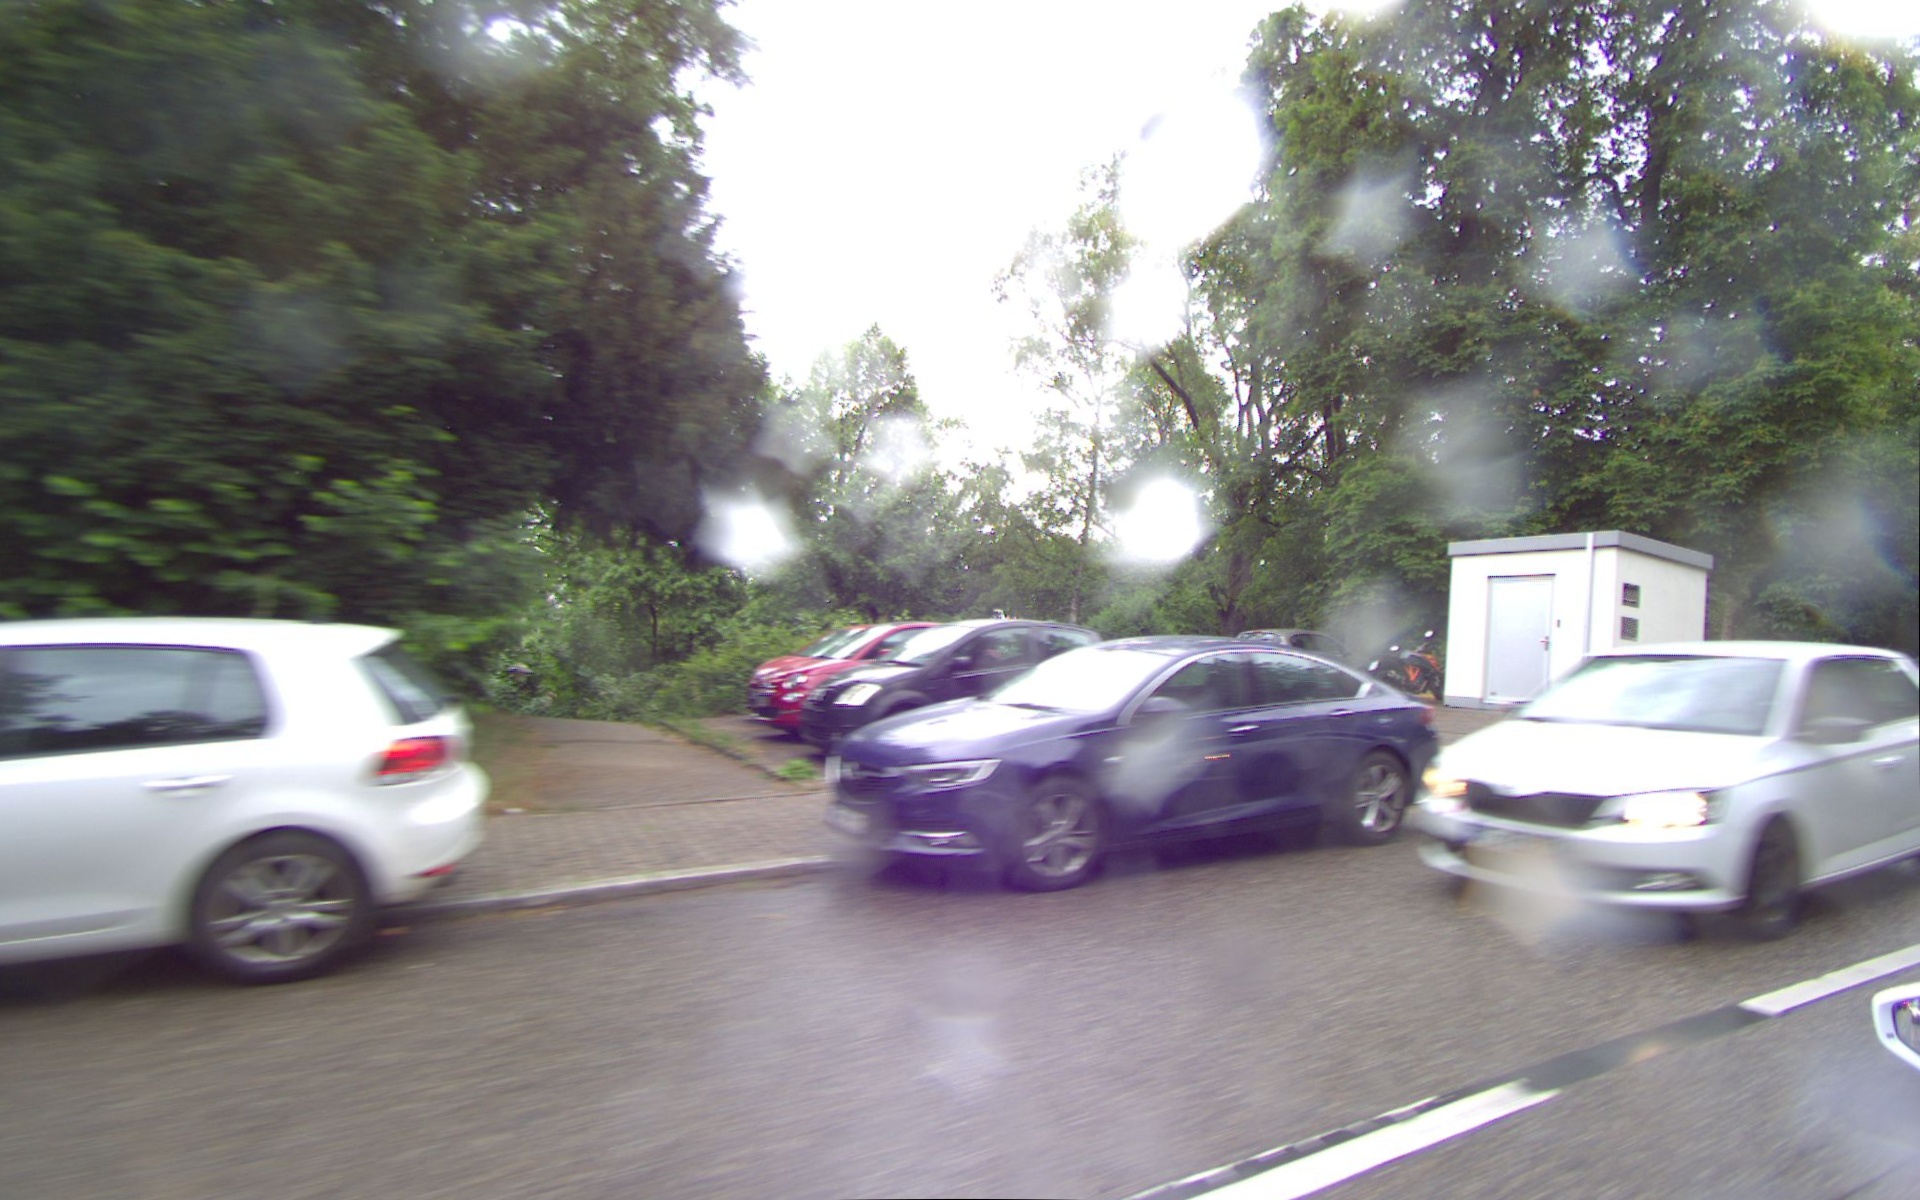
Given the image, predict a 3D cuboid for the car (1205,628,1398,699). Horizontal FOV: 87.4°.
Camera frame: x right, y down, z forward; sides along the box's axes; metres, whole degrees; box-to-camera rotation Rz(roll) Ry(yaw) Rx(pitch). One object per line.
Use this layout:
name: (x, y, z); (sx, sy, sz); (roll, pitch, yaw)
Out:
car: (7.923, 1.411, 23.181); (4.348, 1.478, 1.934); (1, -2, -32)

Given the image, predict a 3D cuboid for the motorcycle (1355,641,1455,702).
motorcycle: (9.246, 1.453, 20.841); (2.247, 1.204, 0.598); (1, -1, -26)

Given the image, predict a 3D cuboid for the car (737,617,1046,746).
car: (-0.870, 0.982, 13.156); (3.728, 1.478, 1.614); (1, -2, -29)

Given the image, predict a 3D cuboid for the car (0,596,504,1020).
car: (-4.253, 0.801, 4.379); (4.093, 1.590, 1.651); (1, -2, -26)

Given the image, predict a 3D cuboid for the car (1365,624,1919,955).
car: (4.513, 0.916, 6.164); (3.865, 1.454, 1.717); (1, -4, -30)

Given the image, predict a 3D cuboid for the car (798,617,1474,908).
car: (1.376, 0.957, 7.254); (4.698, 1.512, 1.852); (1, -5, -30)

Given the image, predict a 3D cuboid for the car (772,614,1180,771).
car: (0.243, 0.933, 11.324); (4.342, 1.478, 1.715); (1, -2, -29)

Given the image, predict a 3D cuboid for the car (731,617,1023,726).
car: (-1.224, 1.026, 15.394); (4.190, 1.478, 1.589); (1, -2, -29)
